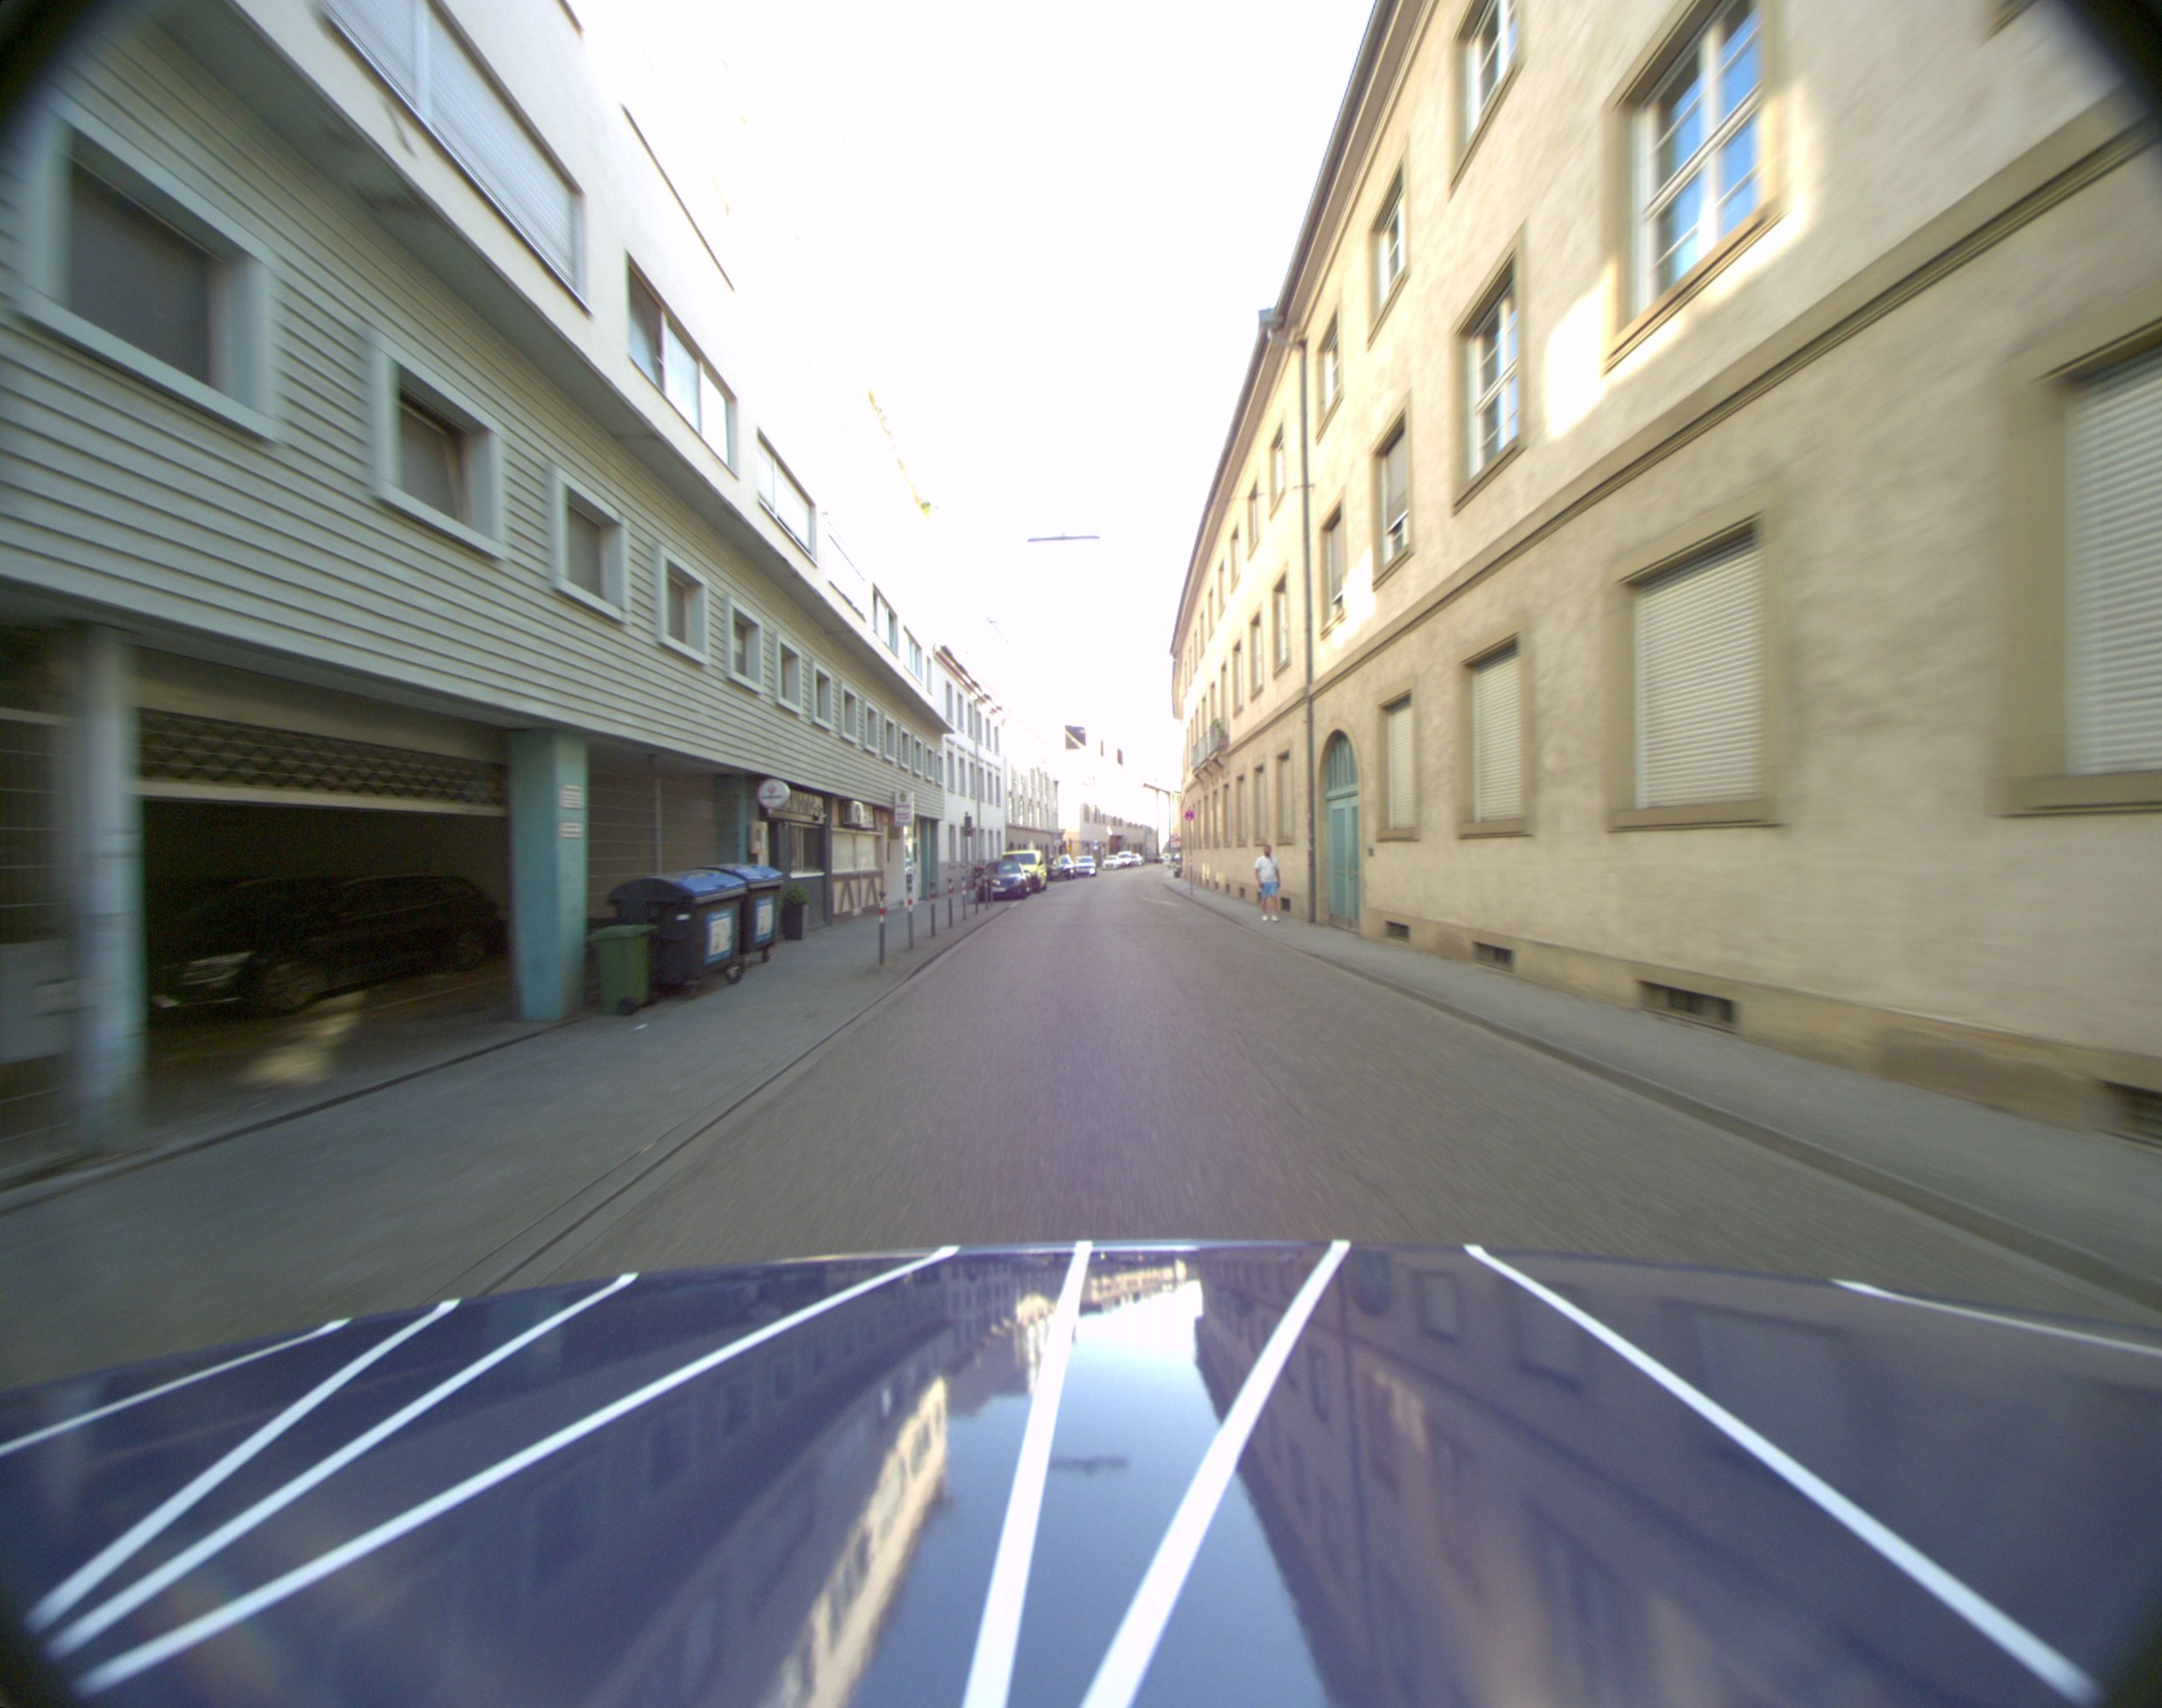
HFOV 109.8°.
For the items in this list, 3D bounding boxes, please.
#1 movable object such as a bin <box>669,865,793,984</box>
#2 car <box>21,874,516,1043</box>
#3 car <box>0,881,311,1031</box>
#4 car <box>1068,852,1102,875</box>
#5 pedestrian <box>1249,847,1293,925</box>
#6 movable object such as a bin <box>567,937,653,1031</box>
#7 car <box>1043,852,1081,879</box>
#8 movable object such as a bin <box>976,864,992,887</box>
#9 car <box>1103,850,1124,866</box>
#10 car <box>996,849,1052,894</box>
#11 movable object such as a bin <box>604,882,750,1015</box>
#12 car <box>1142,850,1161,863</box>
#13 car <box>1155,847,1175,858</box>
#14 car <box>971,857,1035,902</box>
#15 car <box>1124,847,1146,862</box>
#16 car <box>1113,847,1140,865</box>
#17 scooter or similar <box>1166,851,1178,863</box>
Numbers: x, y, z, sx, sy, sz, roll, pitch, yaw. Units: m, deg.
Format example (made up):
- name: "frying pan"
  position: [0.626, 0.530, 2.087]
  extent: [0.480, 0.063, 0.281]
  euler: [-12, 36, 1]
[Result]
- name: "movable object such as a bin"
  position: [-4.848, 0.934, 10.669]
  extent: [0.983, 1.472, 1.550]
  euler: [0, 3, 0]
- name: "car"
  position: [-9.639, 1.093, 9.694]
  extent: [1.832, 1.425, 4.278]
  euler: [0, 2, -4]
- name: "car"
  position: [-12.332, 1.142, 9.705]
  extent: [1.587, 1.461, 3.397]
  euler: [0, 0, -3]
- name: "car"
  position: [0.333, 0.686, 56.390]
  extent: [1.828, 1.550, 3.989]
  euler: [-2, 0, 9]
- name: "pedestrian"
  position: [4.259, 0.703, 17.076]
  extent: [0.694, 1.660, 0.875]
  euler: [-3, 1, 2]
- name: "movable object such as a bin"
  position: [-5.003, 1.370, 8.102]
  extent: [0.558, 0.894, 0.523]
  euler: [0, 3, 0]
- name: "car"
  position: [-1.227, 0.716, 50.528]
  extent: [1.829, 1.645, 4.495]
  euler: [-2, 0, 7]
- name: "movable object such as a bin"
  position: [-4.630, 1.005, 36.224]
  extent: [0.607, 1.045, 0.708]
  euler: [3, 1, 2]
- name: "car"
  position: [3.478, 0.402, 81.264]
  extent: [1.734, 1.539, 4.003]
  euler: [-2, 0, 10]
- name: "car"
  position: [-2.514, 0.737, 34.705]
  extent: [1.888, 1.871, 4.846]
  euler: [-2, 0, 3]
- name: "movable object such as a bin"
  position: [-4.738, 1.070, 9.037]
  extent: [0.983, 1.377, 1.320]
  euler: [0, 3, 0]
- name: "car"
  position: [9.530, 0.335, 102.779]
  extent: [1.774, 1.574, 3.860]
  euler: [-6, 0, 16]
- name: "car"
  position: [12.509, -0.265, 113.027]
  extent: [1.963, 1.400, 4.201]
  euler: [-3, 0, 18]
- name: "car"
  position: [-2.895, 0.906, 29.051]
  extent: [1.888, 1.480, 4.368]
  euler: [-2, 0, 1]
- name: "car"
  position: [6.653, 0.065, 93.381]
  extent: [1.774, 1.574, 3.860]
  euler: [-6, 0, 15]
- name: "car"
  position: [5.278, 0.186, 87.507]
  extent: [1.946, 1.850, 5.200]
  euler: [-6, 0, 15]
- name: "scooter or similar"
  position: [9.801, 0.342, 81.631]
  extent: [1.302, 1.218, 0.467]
  euler: [0, 1, -41]
